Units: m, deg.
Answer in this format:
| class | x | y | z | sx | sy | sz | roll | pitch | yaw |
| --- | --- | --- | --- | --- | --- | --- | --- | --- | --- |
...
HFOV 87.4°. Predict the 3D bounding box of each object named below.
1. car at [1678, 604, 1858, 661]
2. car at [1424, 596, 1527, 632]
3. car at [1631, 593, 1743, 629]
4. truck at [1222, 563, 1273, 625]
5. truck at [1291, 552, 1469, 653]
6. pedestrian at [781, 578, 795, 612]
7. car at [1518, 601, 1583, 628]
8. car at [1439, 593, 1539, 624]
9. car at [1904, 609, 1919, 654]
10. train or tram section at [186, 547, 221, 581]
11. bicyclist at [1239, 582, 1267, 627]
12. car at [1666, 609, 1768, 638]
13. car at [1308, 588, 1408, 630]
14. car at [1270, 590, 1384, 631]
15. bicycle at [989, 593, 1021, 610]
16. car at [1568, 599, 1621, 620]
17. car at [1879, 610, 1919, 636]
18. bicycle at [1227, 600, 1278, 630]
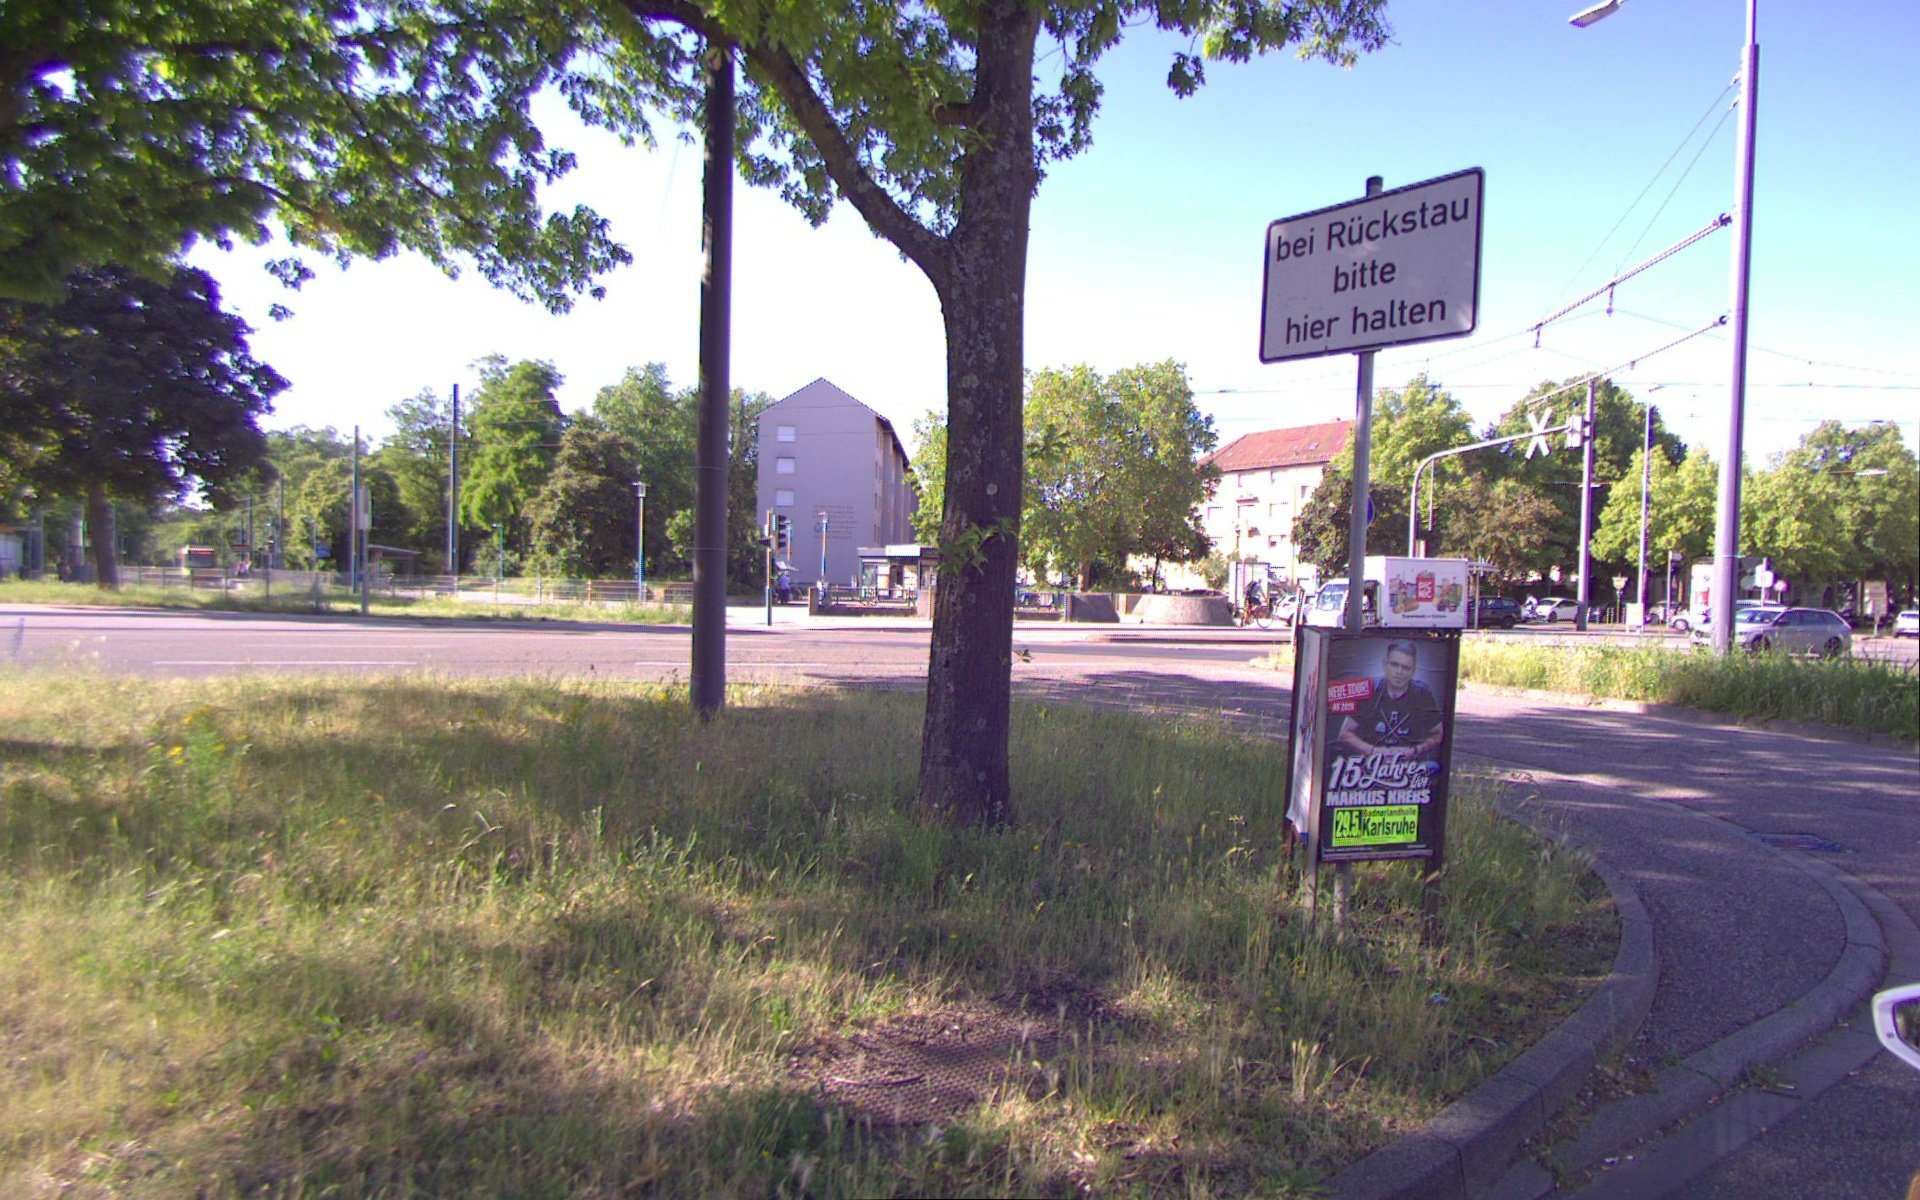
| class | x | y | z | sx | sy | sz | roll | pitch | yaw |
| --- | --- | --- | --- | --- | --- | --- | --- | --- | --- |
| car | 23.292 | 0.924 | 28.984 | 4.325 | 1.468 | 1.664 | 2 | 1 | -12 |
| car | 23.810 | 0.637 | 46.487 | 3.936 | 1.509 | 1.760 | 1 | 4 | -11 |
| car | 35.635 | 0.513 | 49.335 | 1.971 | 1.593 | 3.979 | 1 | 1 | -21 |
| truck | 14.826 | -0.343 | 51.992 | 1.959 | 3.035 | 4.831 | 1 | 2 | 10 |
| truck | 10.976 | 0.062 | 26.285 | 4.045 | 2.459 | 1.787 | 1 | 1 | -18 |
| pedestrian | -9.482 | -0.294 | 55.375 | 0.714 | 1.854 | 0.558 | 2 | 1 | -11 |
| car | 38.194 | 0.906 | 64.907 | 4.176 | 1.639 | 1.752 | 1 | 2 | -30 |
| car | 30.412 | 0.527 | 57.816 | 4.815 | 1.460 | 1.725 | -4 | -6 | 43 |
| car | 34.619 | 1.142 | 34.779 | 1.965 | 1.583 | 4.375 | 2 | 1 | 32 |
| train or tram section | -74.459 | -3.555 | 99.092 | 2.446 | 2.979 | 19.636 | 1 | 1 | -36 |
| bicyclist | 10.290 | 0.138 | 35.315 | 0.666 | 1.551 | 0.611 | 0 | 3 | -19 |
| car | 39.395 | 1.171 | 52.336 | 1.985 | 1.260 | 3.949 | 1 | 2 | -42 |
| car | 18.599 | 0.413 | 47.079 | 3.924 | 1.741 | 1.762 | 1 | 4 | -5 |
| car | 16.283 | 0.432 | 44.769 | 4.457 | 1.565 | 1.873 | 2 | 4 | 11 |
| bicycle | 2.470 | 0.080 | 55.251 | 1.652 | 0.850 | 0.548 | 2 | 1 | 15 |
| car | 42.828 | 0.651 | 67.788 | 3.662 | 1.311 | 1.585 | 1 | 1 | -32 |
| car | 52.724 | 1.256 | 55.418 | 3.956 | 1.328 | 1.982 | 1 | 1 | -33 |
| bicycle | 10.287 | 0.524 | 35.327 | 1.633 | 1.015 | 0.611 | 0 | 3 | -19 |
